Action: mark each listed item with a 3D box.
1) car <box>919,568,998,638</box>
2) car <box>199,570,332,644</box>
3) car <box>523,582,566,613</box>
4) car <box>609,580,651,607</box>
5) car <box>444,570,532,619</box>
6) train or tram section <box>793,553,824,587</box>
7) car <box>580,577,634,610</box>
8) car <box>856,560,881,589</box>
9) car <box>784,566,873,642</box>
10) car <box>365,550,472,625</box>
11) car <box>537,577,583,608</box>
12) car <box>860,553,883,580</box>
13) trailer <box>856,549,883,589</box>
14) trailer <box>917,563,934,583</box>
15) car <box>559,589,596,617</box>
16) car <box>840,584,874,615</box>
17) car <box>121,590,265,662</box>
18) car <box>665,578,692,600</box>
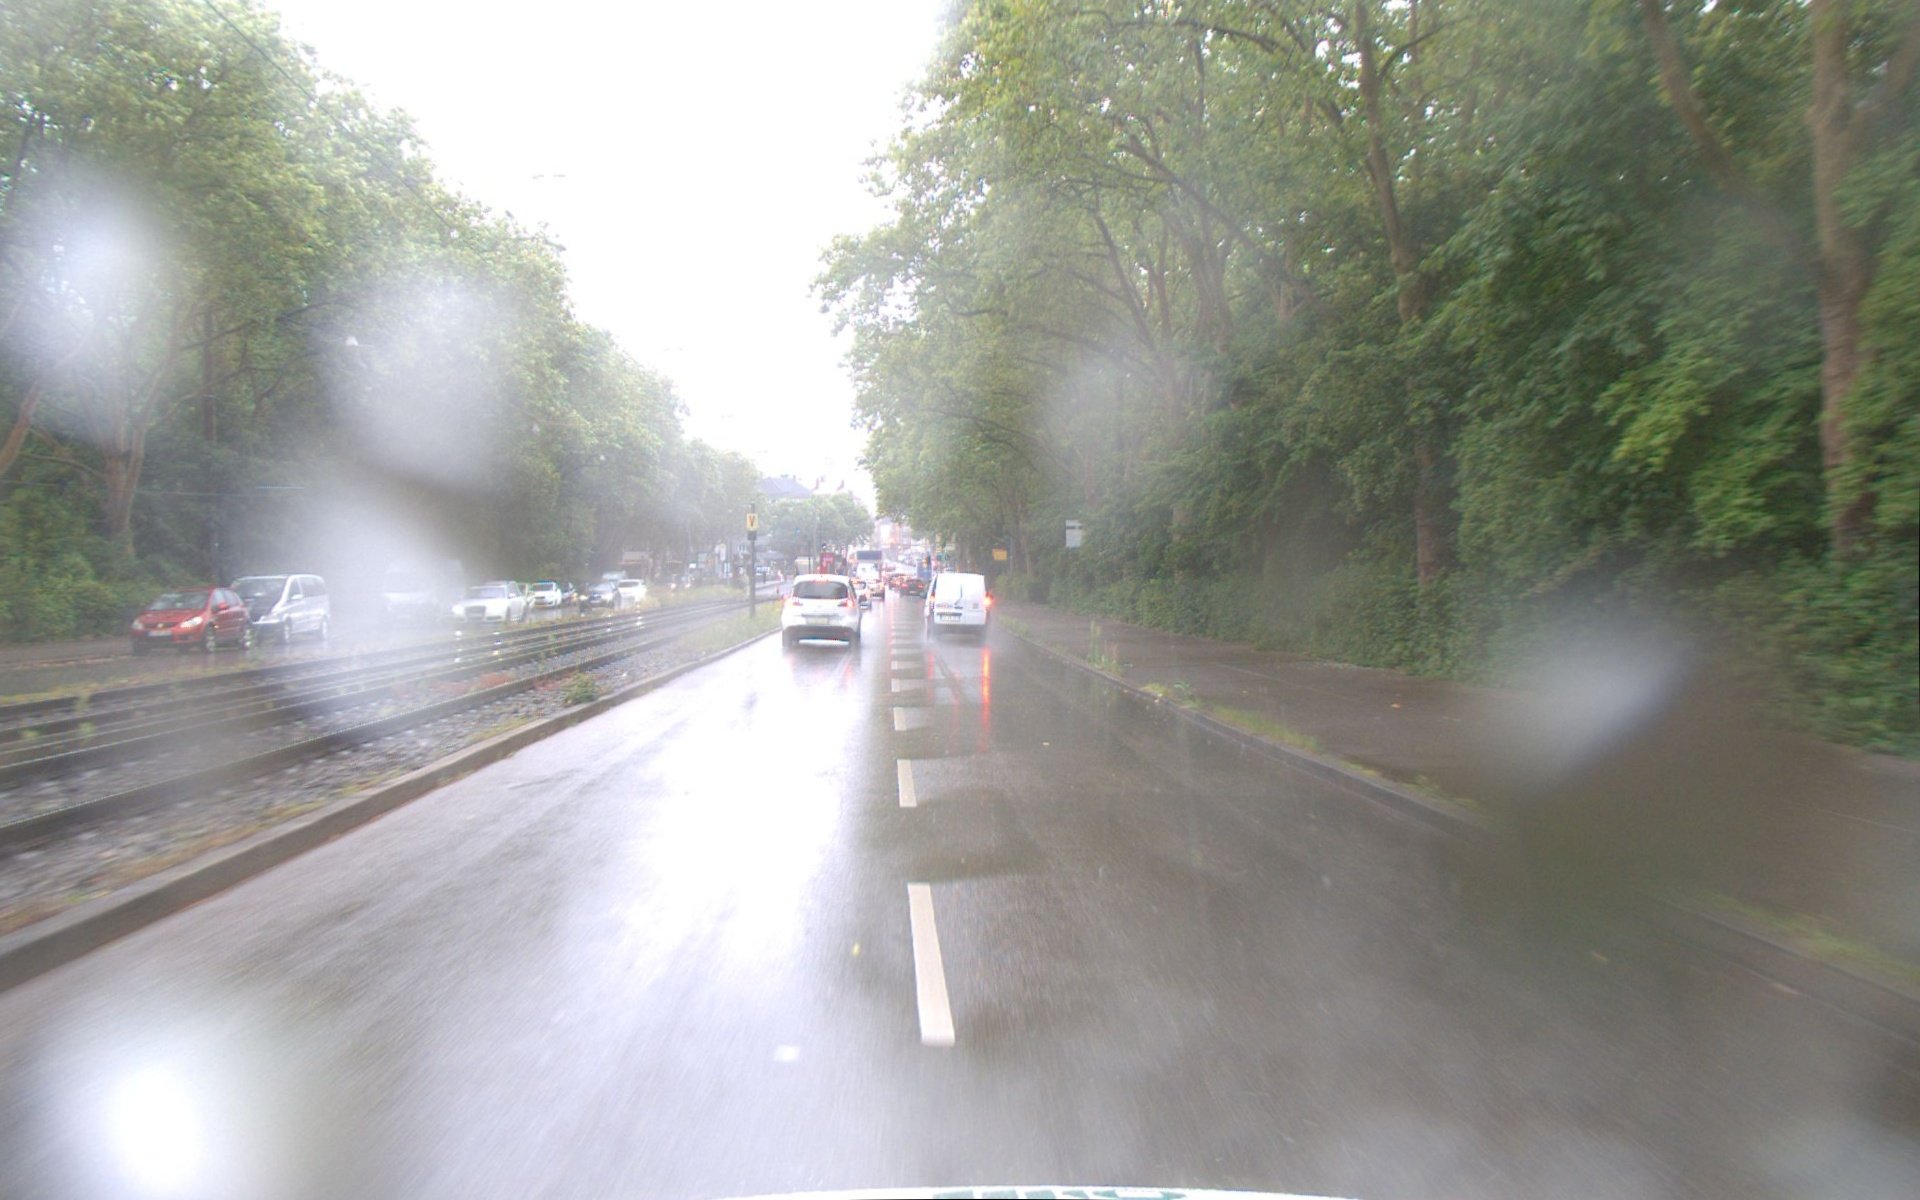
[{"bbox_3d":[-0.089,0.069,45.277,1.920,1.808,3.567,1,0,-4],"label":"car"},{"bbox_3d":[-18.891,0.158,45.240,1.918,1.894,4.637,-1,1,-4],"label":"car"},{"bbox_3d":[-23.498,-0.163,93.662,1.727,1.677,3.809,-1,1,-5],"label":"car"},{"bbox_3d":[-20.024,-0.422,100.563,1.940,1.594,4.764,-1,1,-5],"label":"car"},{"bbox_3d":[-16.218,-0.200,57.121,1.994,1.579,4.991,-1,1,-5],"label":"car"},{"bbox_3d":[-15.553,-3.141,170.151,2.903,3.342,8.354,-1,2,-4],"label":"train or tram section"},{"bbox_3d":[-17.847,-0.331,83.744,1.993,1.579,4.563,-1,1,-4],"label":"car"},{"bbox_3d":[-8.783,-2.412,159.175,2.283,2.602,6.110,1,0,-3],"label":"car"},{"bbox_3d":[-3.051,0.072,39.116,1.827,1.652,4.262,1,0,-1],"label":"car"},{"bbox_3d":[-20.065,-0.479,61.588,2.343,2.585,6.559,-1,1,-5],"label":"car"},{"bbox_3d":[-23.811,-0.456,98.650,1.992,1.781,4.689,-1,1,-5],"label":"car"},{"bbox_3d":[-7.891,-2.970,147.785,1.954,2.301,5.285,1,0,-3],"label":"car"},{"bbox_3d":[-9.409,-3.240,171.912,2.539,3.967,7.630,1,1,-4],"label":"trailer"},{"bbox_3d":[-4.277,-3.325,206.588,1.954,2.357,4.666,1,0,-3],"label":"trailer"},{"bbox_3d":[-24.653,0.166,106.666,1.994,1.686,4.600,1,1,-9],"label":"car"},{"bbox_3d":[-5.215,-0.025,83.940,1.691,1.504,3.803,1,0,-4],"label":"car"},{"bbox_3d":[-18.390,0.589,39.846,1.782,1.579,4.021,-1,1,-4],"label":"car"},{"bbox_3d":[-24.123,-0.959,141.871,1.992,1.781,4.255,-1,1,-5],"label":"car"}]
